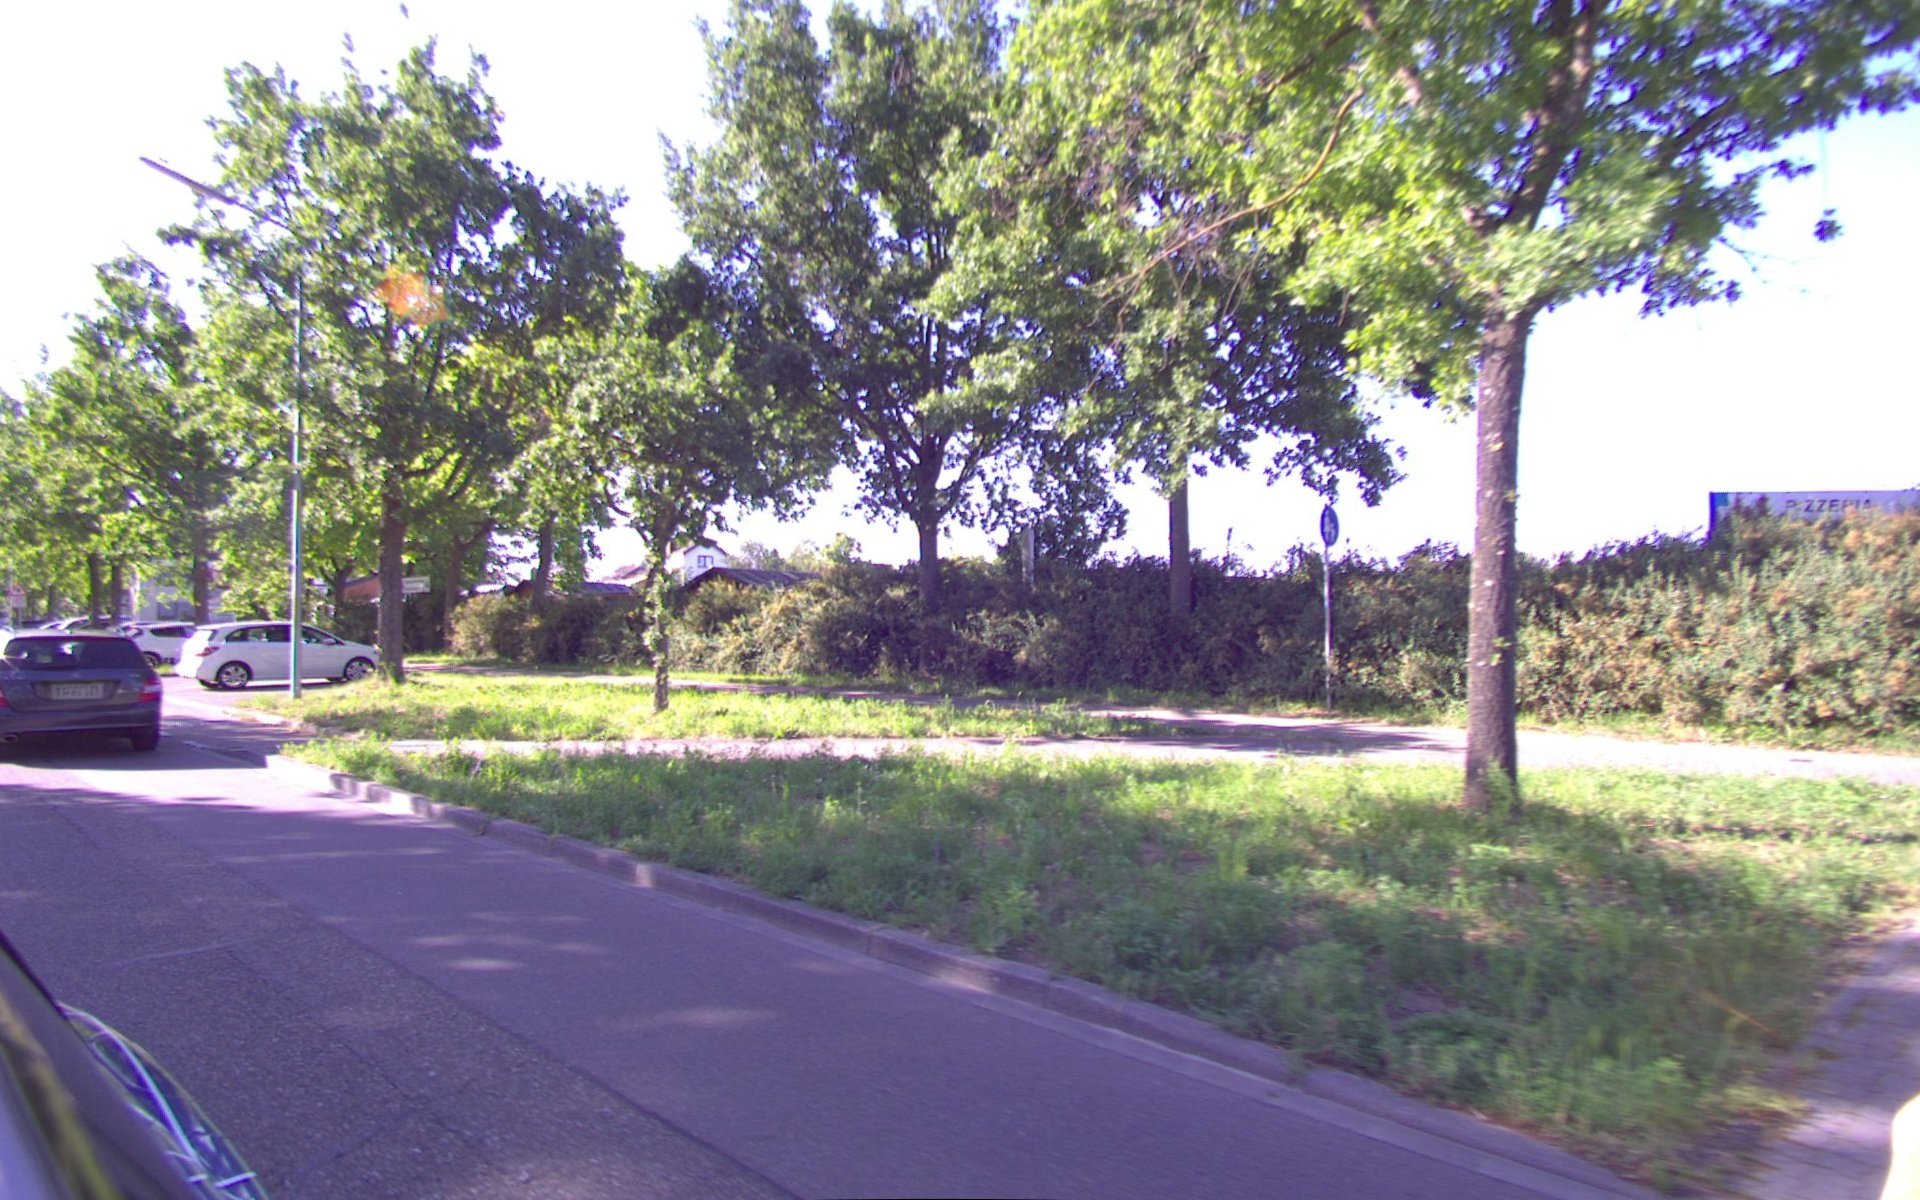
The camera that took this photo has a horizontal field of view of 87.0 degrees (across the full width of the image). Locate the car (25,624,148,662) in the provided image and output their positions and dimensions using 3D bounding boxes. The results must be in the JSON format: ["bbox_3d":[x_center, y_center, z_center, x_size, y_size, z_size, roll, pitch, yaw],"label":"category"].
[{"bbox_3d":[-39.664,1.935,46.033,1.866,1.568,4.090,-2,-1,43],"label":"car"}]

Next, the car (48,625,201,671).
[{"bbox_3d":[-32.242,1.803,39.120,2.088,1.568,4.363,-2,-1,43],"label":"car"}]

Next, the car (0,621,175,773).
[{"bbox_3d":[-11.069,1.082,12.226,4.495,1.540,1.746,-2,-4,43],"label":"car"}]

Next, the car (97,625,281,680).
[{"bbox_3d":[-24.538,1.612,32.313,2.087,1.522,4.366,-2,-1,41],"label":"car"}]

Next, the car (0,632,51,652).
[{"bbox_3d":[-71.639,3.154,76.746,3.976,1.490,1.944,2,-3,-42],"label":"car"}]

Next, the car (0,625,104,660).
[{"bbox_3d":[-47.554,2.195,53.010,1.877,1.655,4.017,-2,-1,44],"label":"car"}]

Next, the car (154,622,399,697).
[{"bbox_3d":[-16.747,1.393,24.981,2.188,1.570,4.582,-2,-1,38],"label":"car"}]

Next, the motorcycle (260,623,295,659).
[{"bbox_3d":[-28.773,1.726,42.653,1.991,1.443,0.729,-2,1,43],"label":"motorcycle"}]

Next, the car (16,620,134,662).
[{"bbox_3d":[-43.352,1.972,49.631,1.998,1.898,4.183,-2,-1,42],"label":"car"}]
